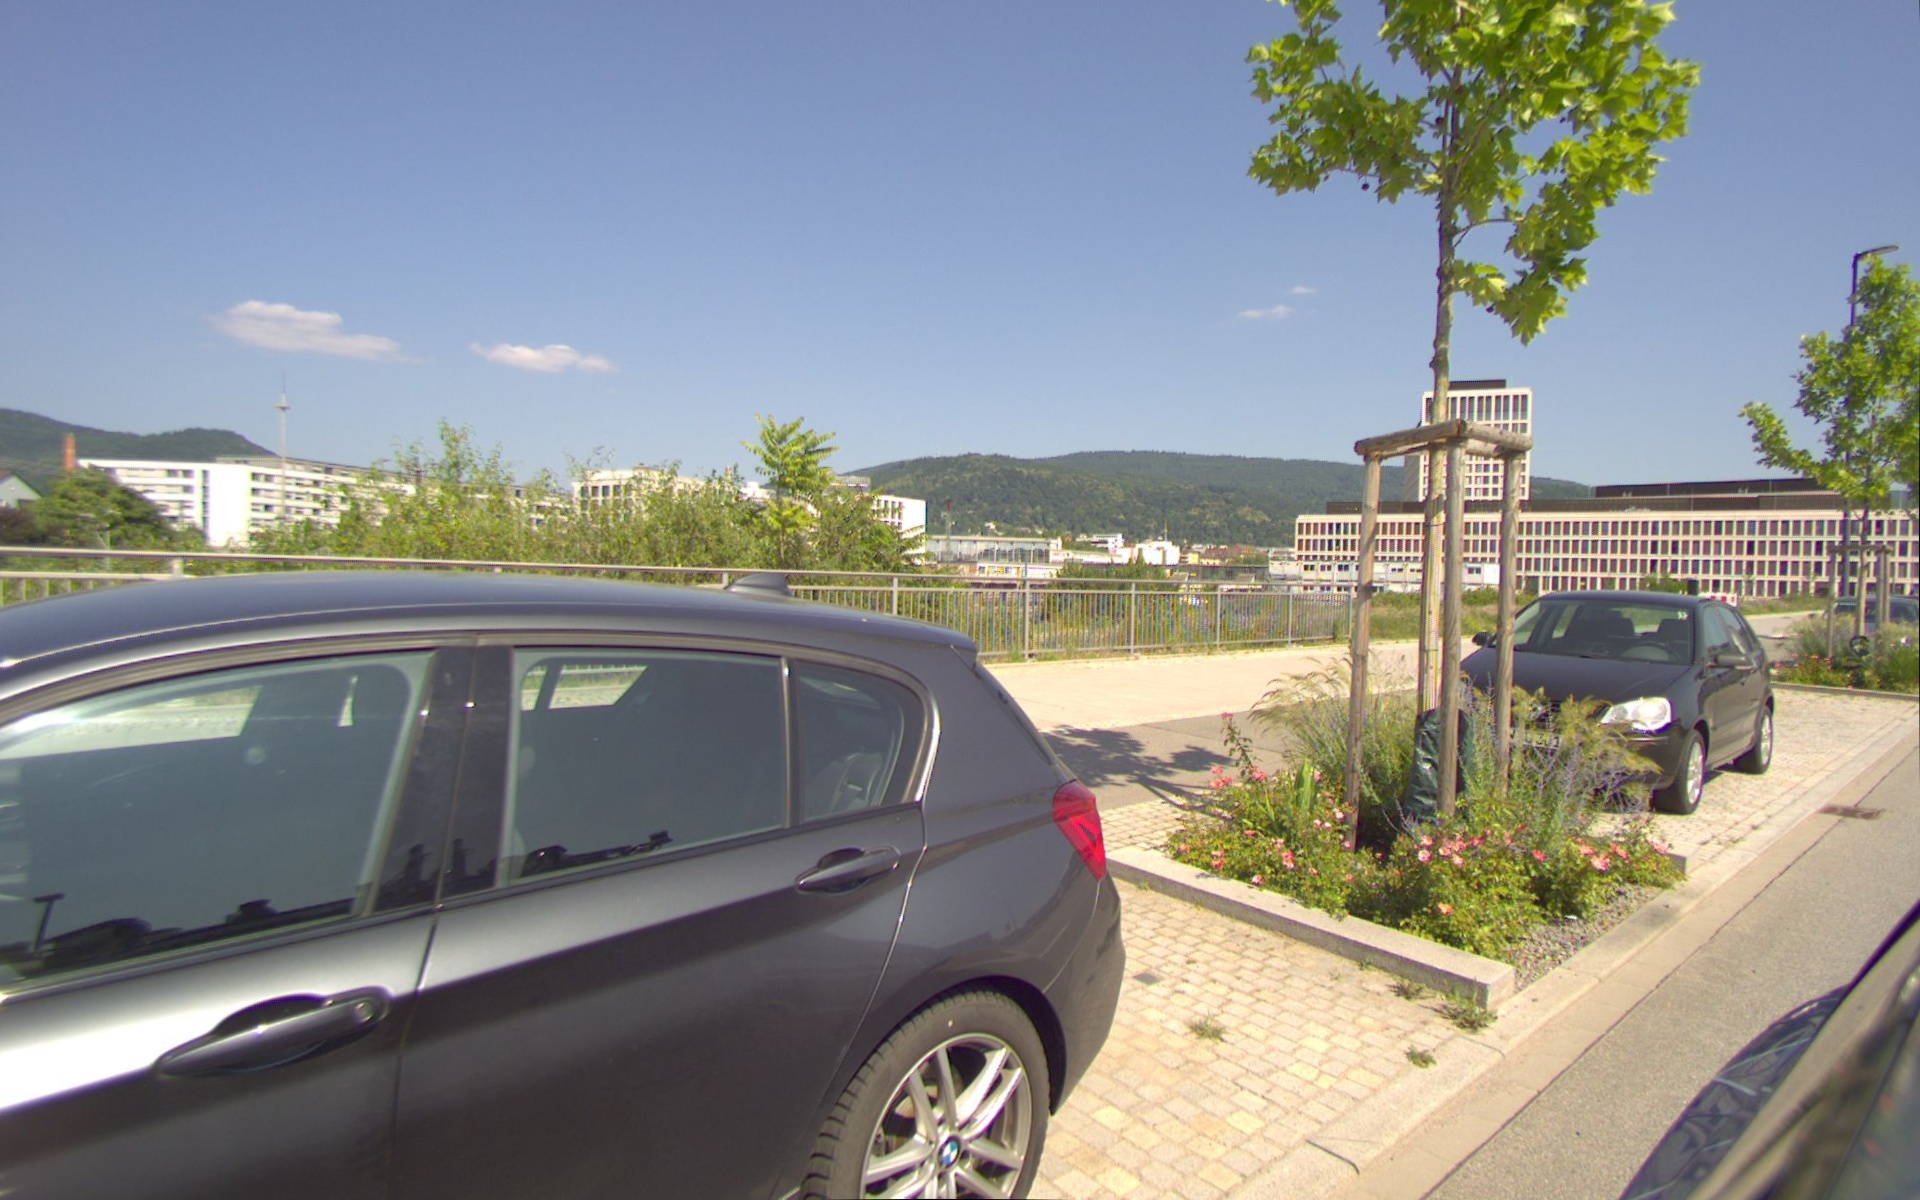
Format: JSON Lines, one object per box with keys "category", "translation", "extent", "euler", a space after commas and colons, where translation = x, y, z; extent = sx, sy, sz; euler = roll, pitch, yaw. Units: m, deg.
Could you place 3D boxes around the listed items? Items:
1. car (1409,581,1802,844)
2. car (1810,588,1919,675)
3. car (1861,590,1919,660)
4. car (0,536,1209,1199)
{"category": "car", "translation": [5.274, 0.645, 8.061], "extent": [3.888, 1.480, 1.706], "euler": [-2, 4, -43]}
{"category": "car", "translation": [17.562, 0.546, 19.138], "extent": [3.885, 1.481, 1.707], "euler": [0, 1, -41]}
{"category": "car", "translation": [21.956, 0.543, 22.923], "extent": [4.011, 1.481, 1.708], "euler": [0, 1, -39]}
{"category": "car", "translation": [-1.573, 0.614, 1.707], "extent": [4.194, 1.418, 1.708], "euler": [-1, 4, -40]}
